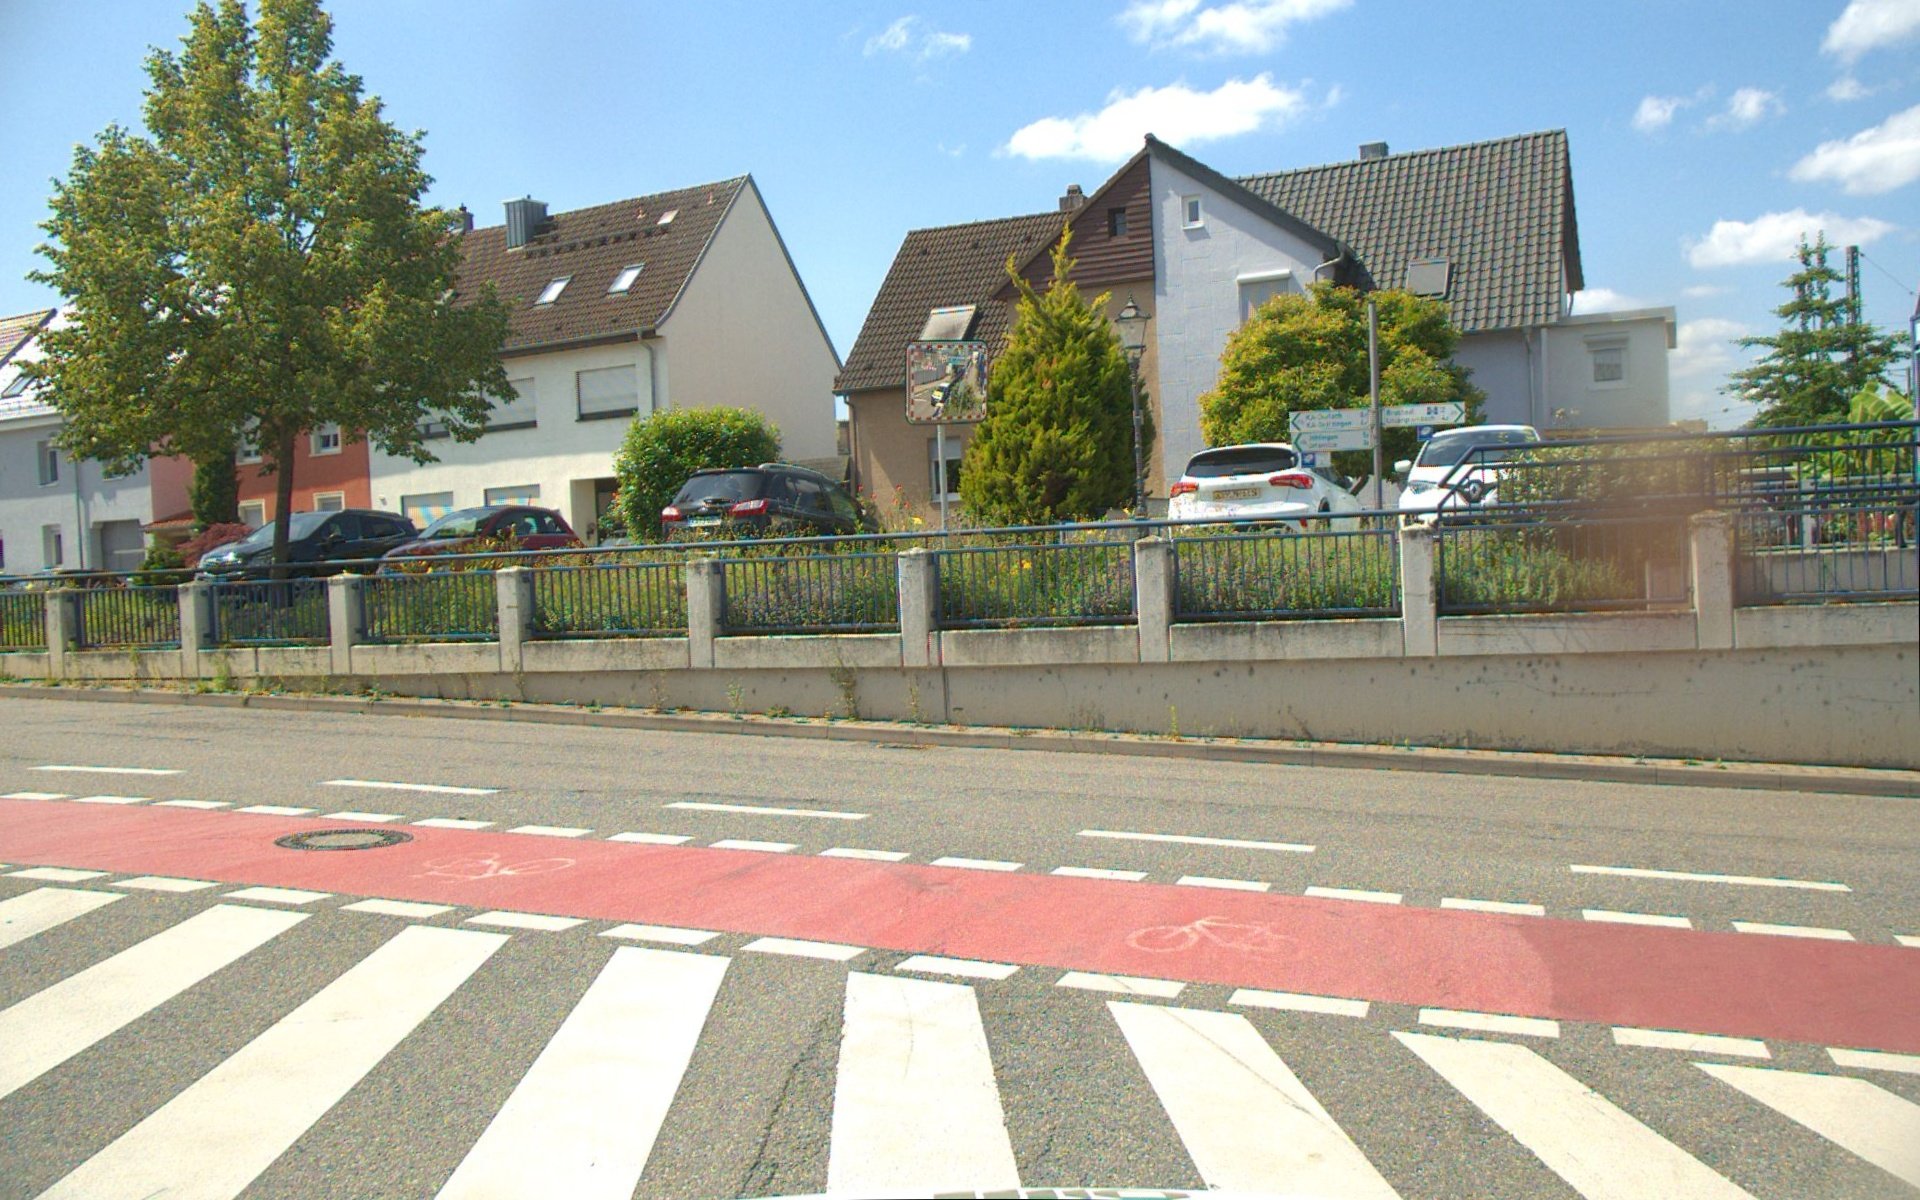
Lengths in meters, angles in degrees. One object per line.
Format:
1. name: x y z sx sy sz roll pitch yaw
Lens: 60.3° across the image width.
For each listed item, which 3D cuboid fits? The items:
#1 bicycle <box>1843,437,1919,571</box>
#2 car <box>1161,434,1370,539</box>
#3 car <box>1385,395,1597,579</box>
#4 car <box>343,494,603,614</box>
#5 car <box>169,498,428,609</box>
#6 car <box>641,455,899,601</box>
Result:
1. bicycle: 8.872 -0.861 14.367 2.070 1.145 0.333 -1 2 16
2. car: 3.739 -1.319 19.800 1.788 1.037 3.459 2 1 22
3. car: 6.153 -1.185 18.846 1.953 1.828 4.196 2 1 22
4. car: -7.132 -0.668 24.566 1.829 1.614 3.609 2 1 22
5. car: -10.434 -0.725 26.337 1.829 1.614 3.609 2 1 22
6. car: -2.517 -0.947 22.918 1.829 1.828 4.000 2 1 22
